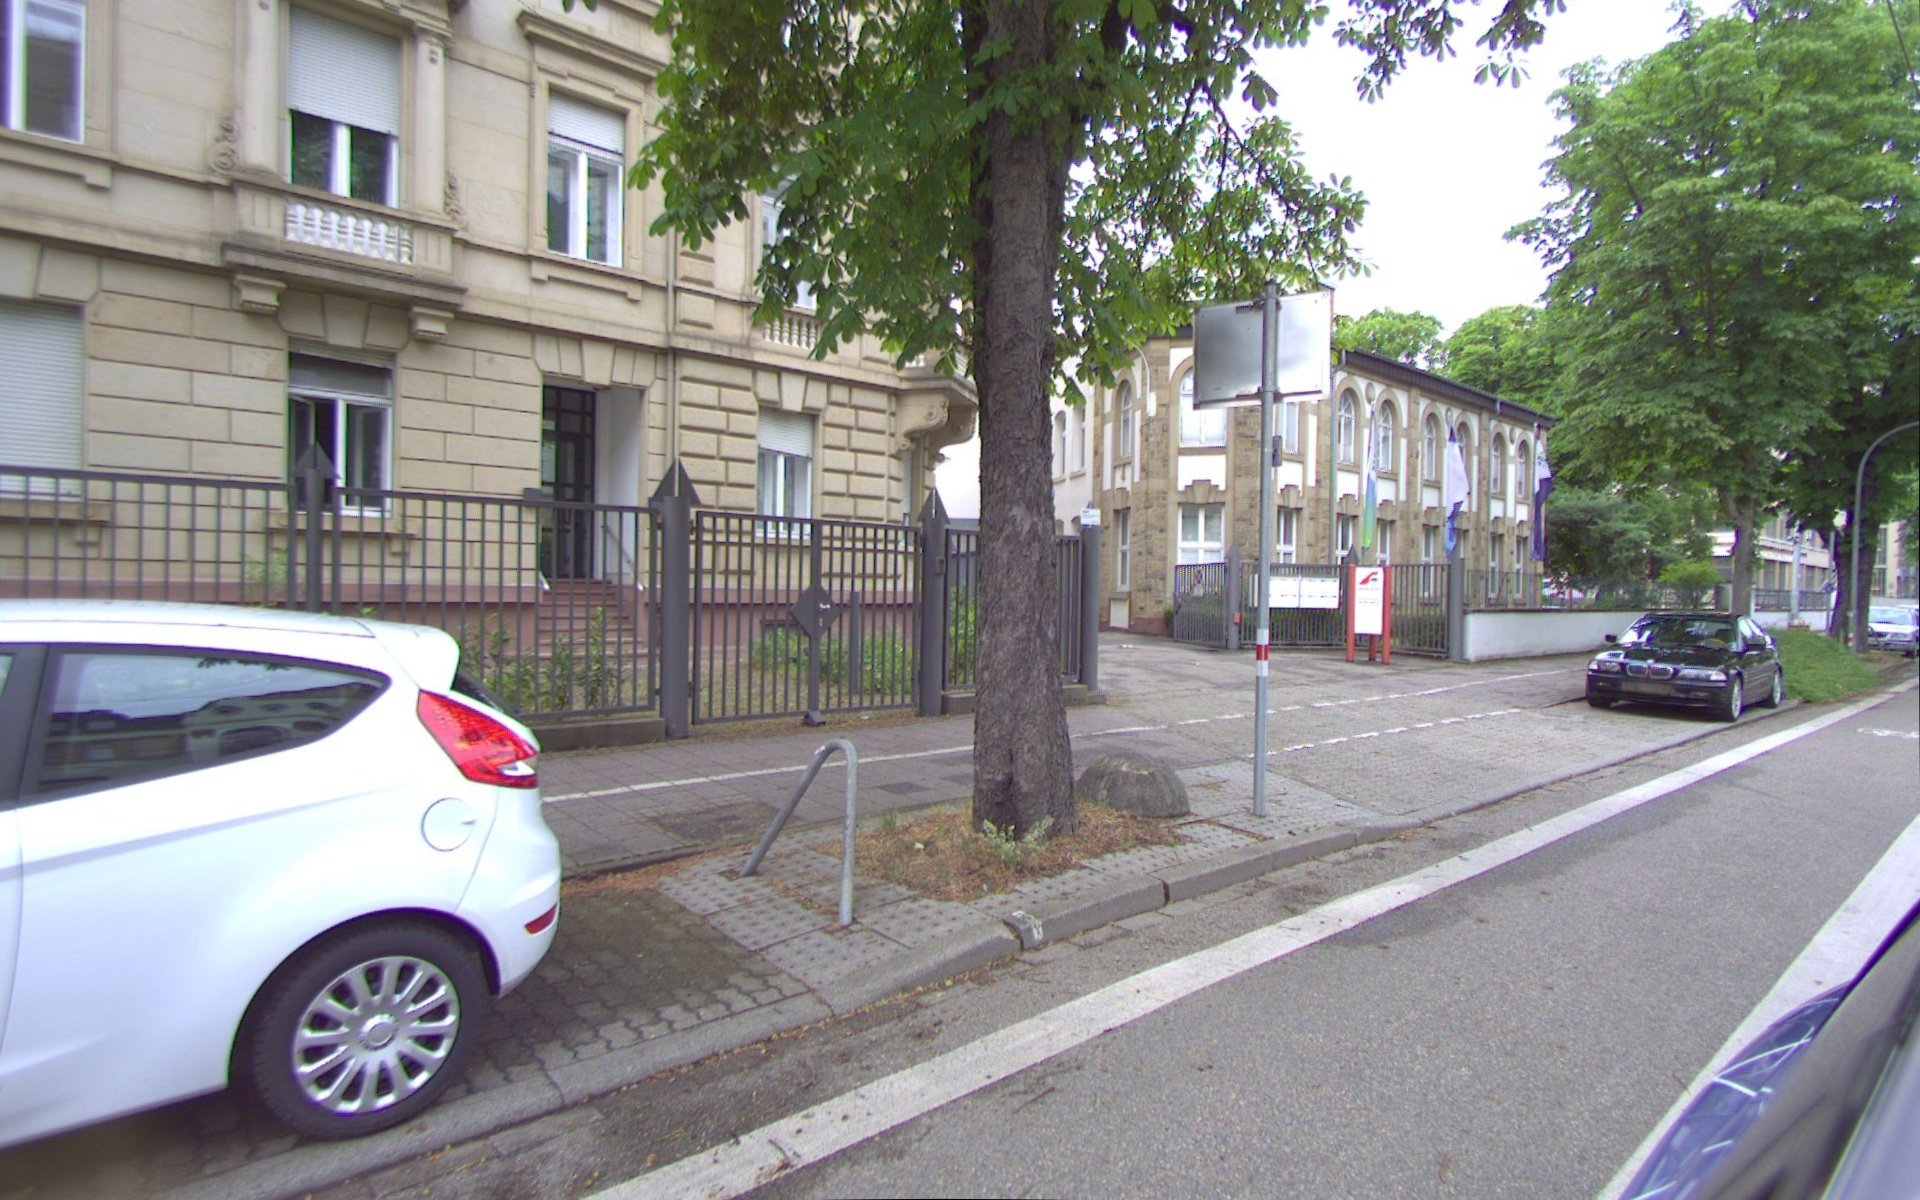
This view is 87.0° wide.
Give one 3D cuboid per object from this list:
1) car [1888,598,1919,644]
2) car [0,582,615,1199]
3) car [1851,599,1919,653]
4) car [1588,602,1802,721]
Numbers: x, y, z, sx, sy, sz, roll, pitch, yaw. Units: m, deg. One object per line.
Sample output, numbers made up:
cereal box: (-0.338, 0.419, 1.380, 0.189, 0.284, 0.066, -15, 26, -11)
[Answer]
car: (32.402, 0.696, 33.791, 3.769, 1.442, 1.606, 0, 3, -41)
car: (-3.021, 0.712, 2.593, 3.698, 1.453, 1.631, 0, 3, -41)
car: (27.122, 0.723, 29.171, 3.769, 1.387, 1.606, 0, 3, -41)
car: (10.546, 0.773, 14.427, 3.769, 1.387, 1.606, 0, 3, -41)
